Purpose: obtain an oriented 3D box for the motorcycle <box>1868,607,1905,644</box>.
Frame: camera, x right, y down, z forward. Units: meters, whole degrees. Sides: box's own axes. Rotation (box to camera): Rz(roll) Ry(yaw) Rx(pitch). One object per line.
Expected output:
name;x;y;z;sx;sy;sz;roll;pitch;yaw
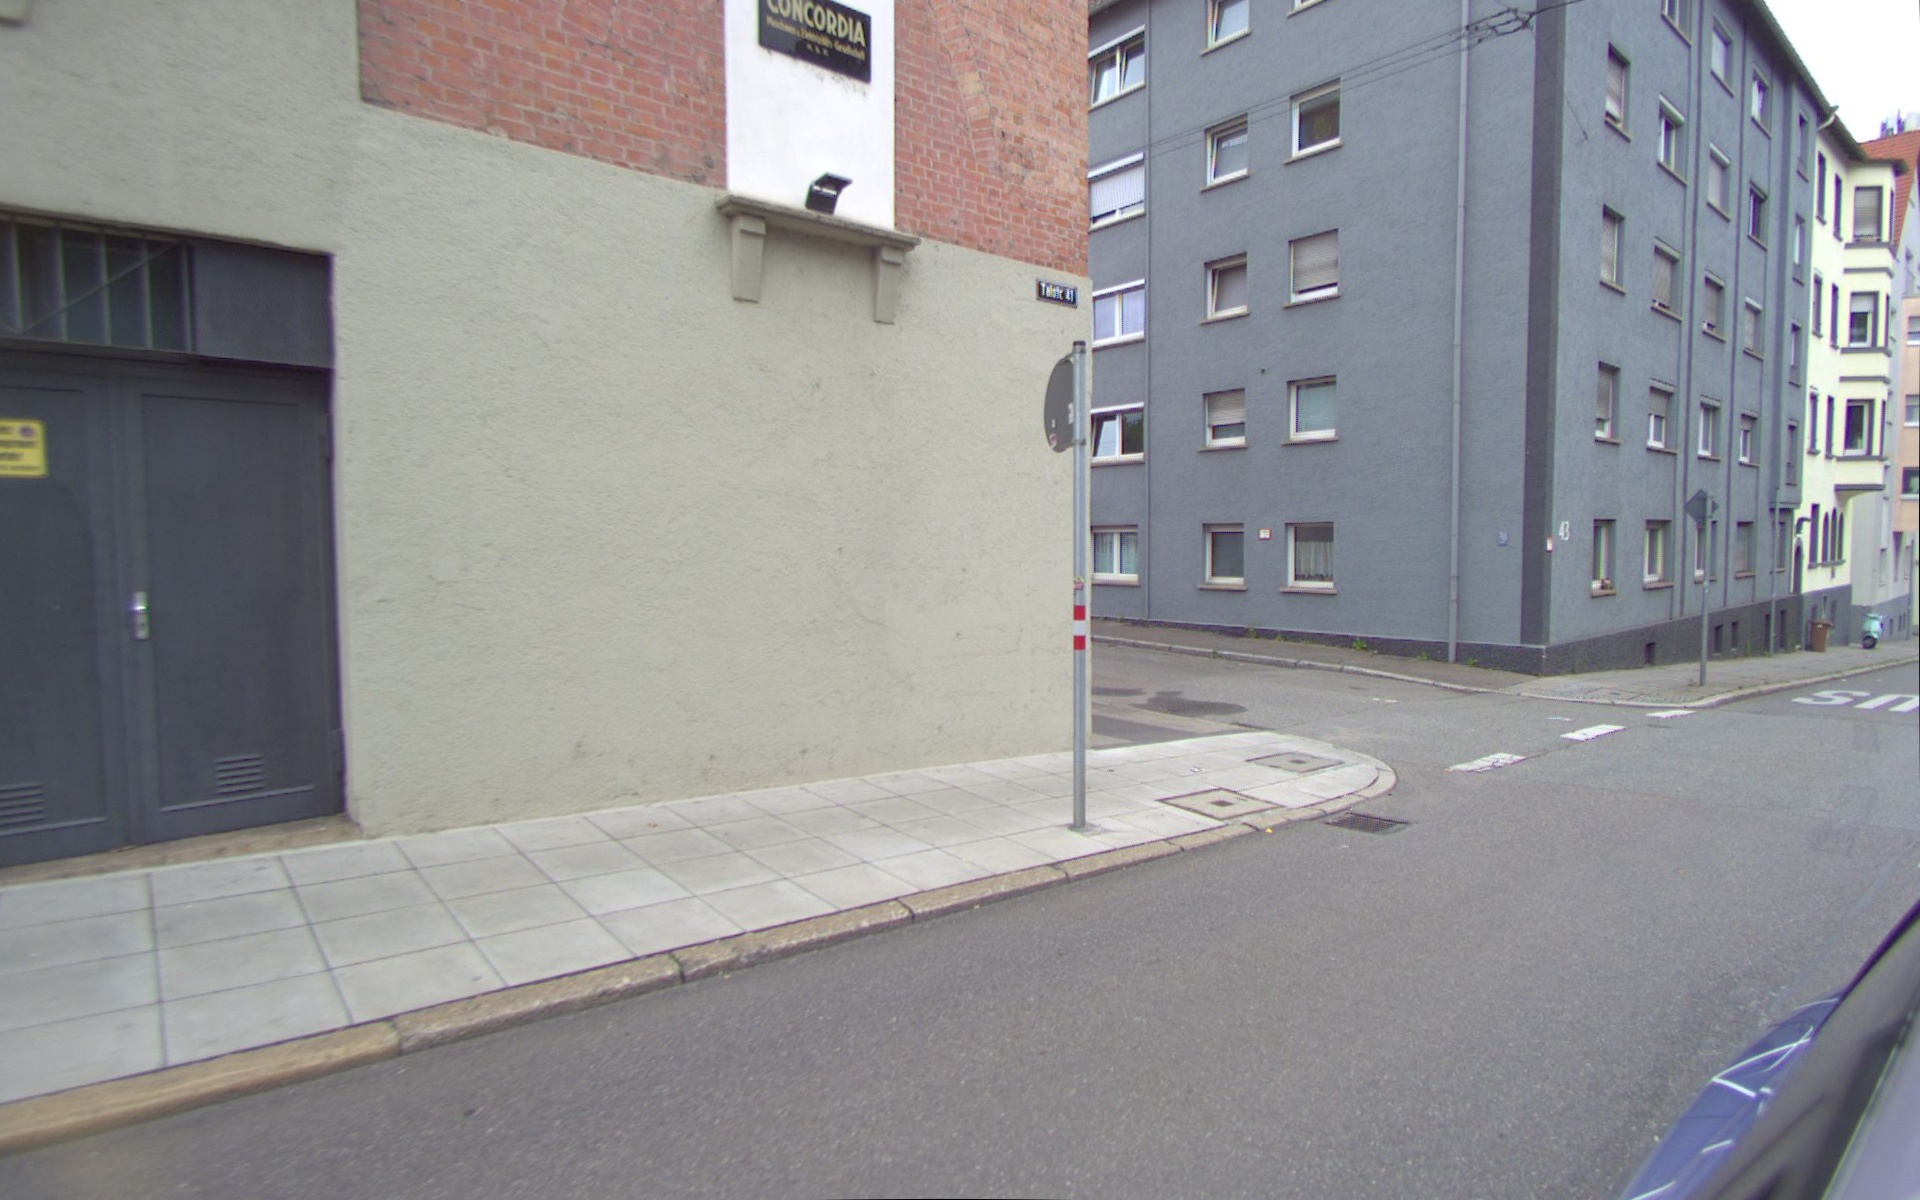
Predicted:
motorcycle;30.547;0.813;33.350;1.624;1.124;0.566;0;6;-40
